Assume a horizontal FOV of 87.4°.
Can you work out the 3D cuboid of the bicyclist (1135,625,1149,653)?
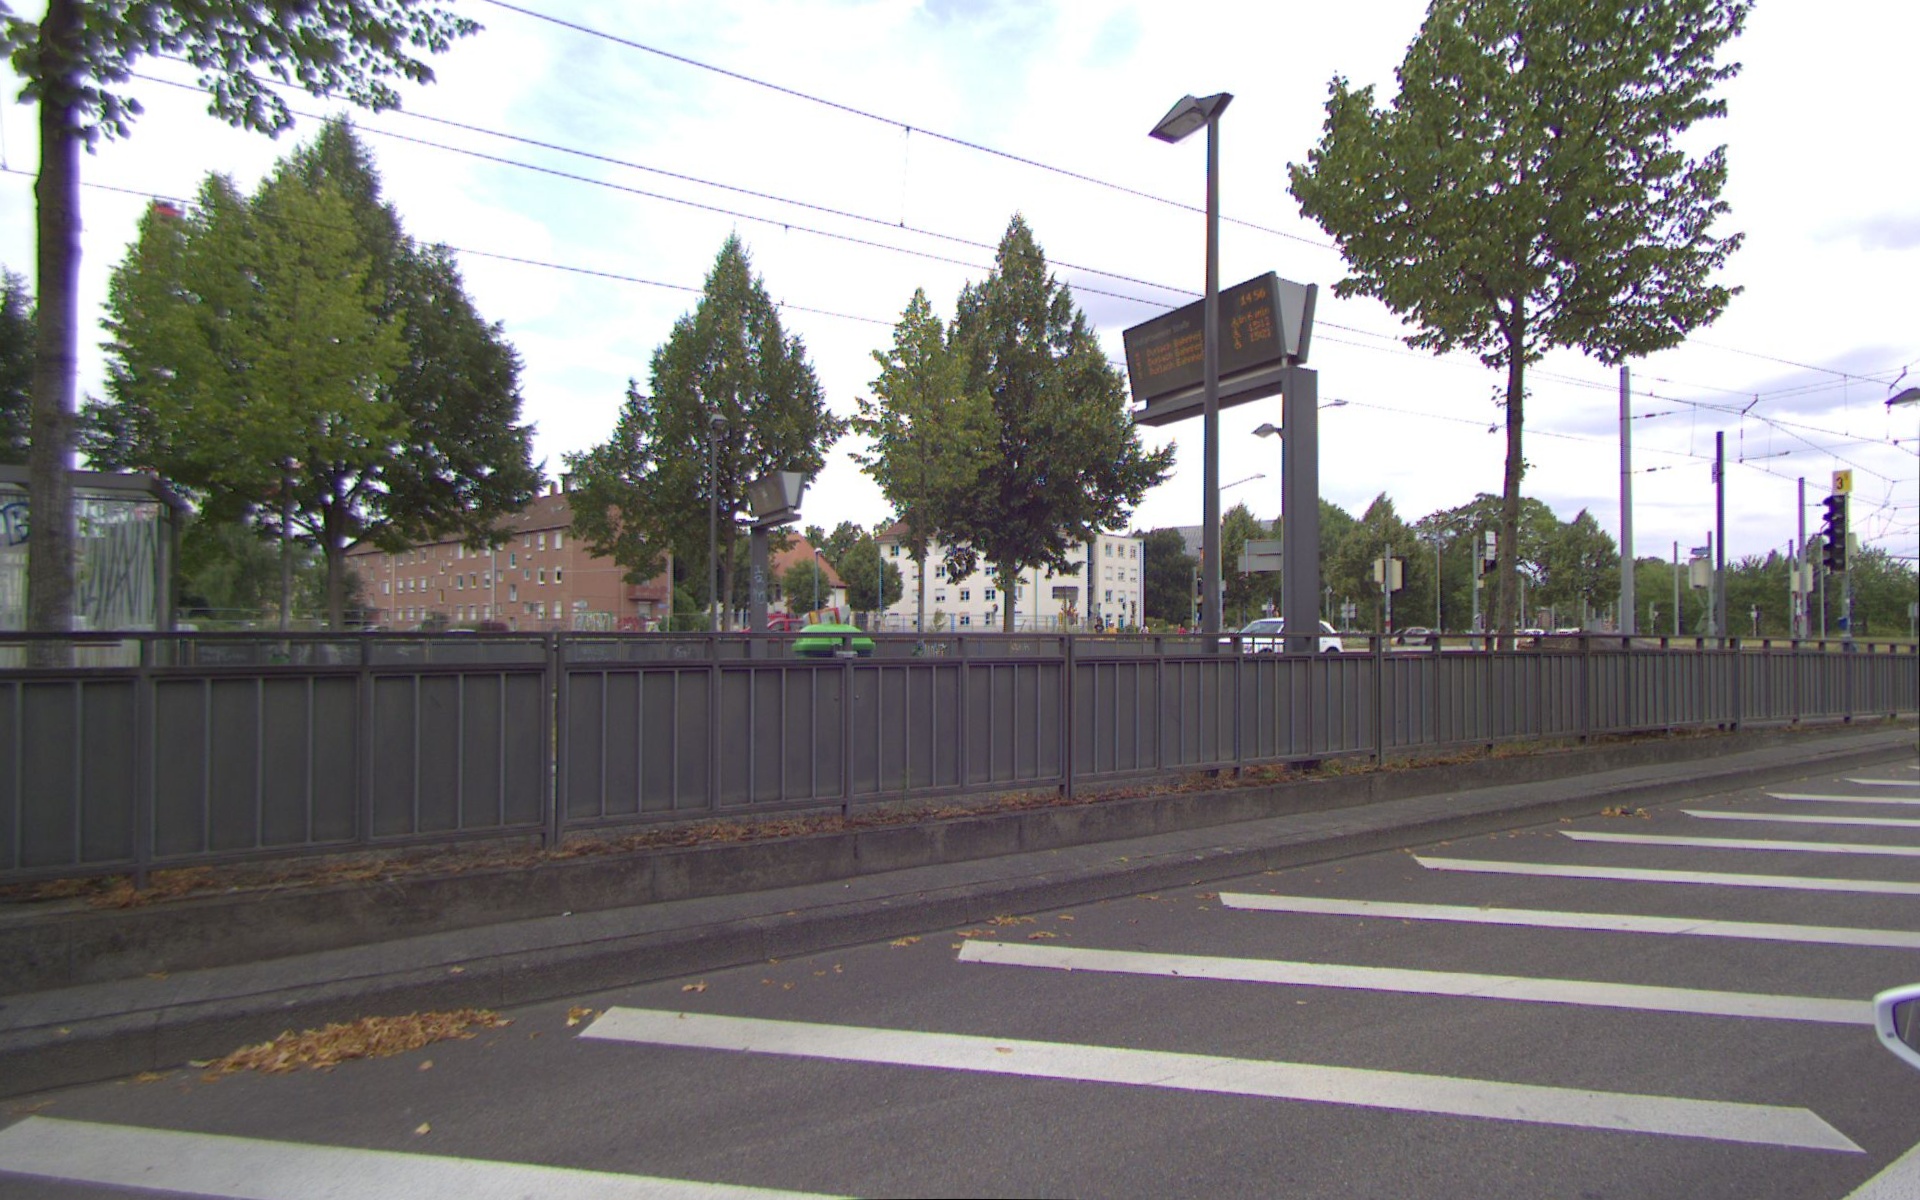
[{"bbox_3d":[12.423,2.665,68.553,0.815,1.859,0.783,0,-1,22],"label":"bicyclist"}]

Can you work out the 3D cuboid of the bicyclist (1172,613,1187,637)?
[{"bbox_3d":[14.890,1.687,68.158,0.874,1.583,0.750,0,-1,25],"label":"bicyclist"}]

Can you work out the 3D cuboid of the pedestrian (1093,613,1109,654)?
[{"bbox_3d":[6.559,1.554,46.852,0.637,1.874,0.491,0,-1,22],"label":"pedestrian"}]

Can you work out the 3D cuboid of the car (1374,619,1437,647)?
[{"bbox_3d":[34.774,2.548,78.522,3.922,1.664,1.998,-1,13,-3],"label":"car"}]

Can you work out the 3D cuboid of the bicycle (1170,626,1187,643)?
[{"bbox_3d":[14.869,2.328,68.309,0.793,1.144,2.708,0,-1,19],"label":"bicycle"}]

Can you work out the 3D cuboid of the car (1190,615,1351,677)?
[{"bbox_3d":[8.815,1.257,28.493,4.333,1.639,1.984,1,-1,-30],"label":"car"}]
